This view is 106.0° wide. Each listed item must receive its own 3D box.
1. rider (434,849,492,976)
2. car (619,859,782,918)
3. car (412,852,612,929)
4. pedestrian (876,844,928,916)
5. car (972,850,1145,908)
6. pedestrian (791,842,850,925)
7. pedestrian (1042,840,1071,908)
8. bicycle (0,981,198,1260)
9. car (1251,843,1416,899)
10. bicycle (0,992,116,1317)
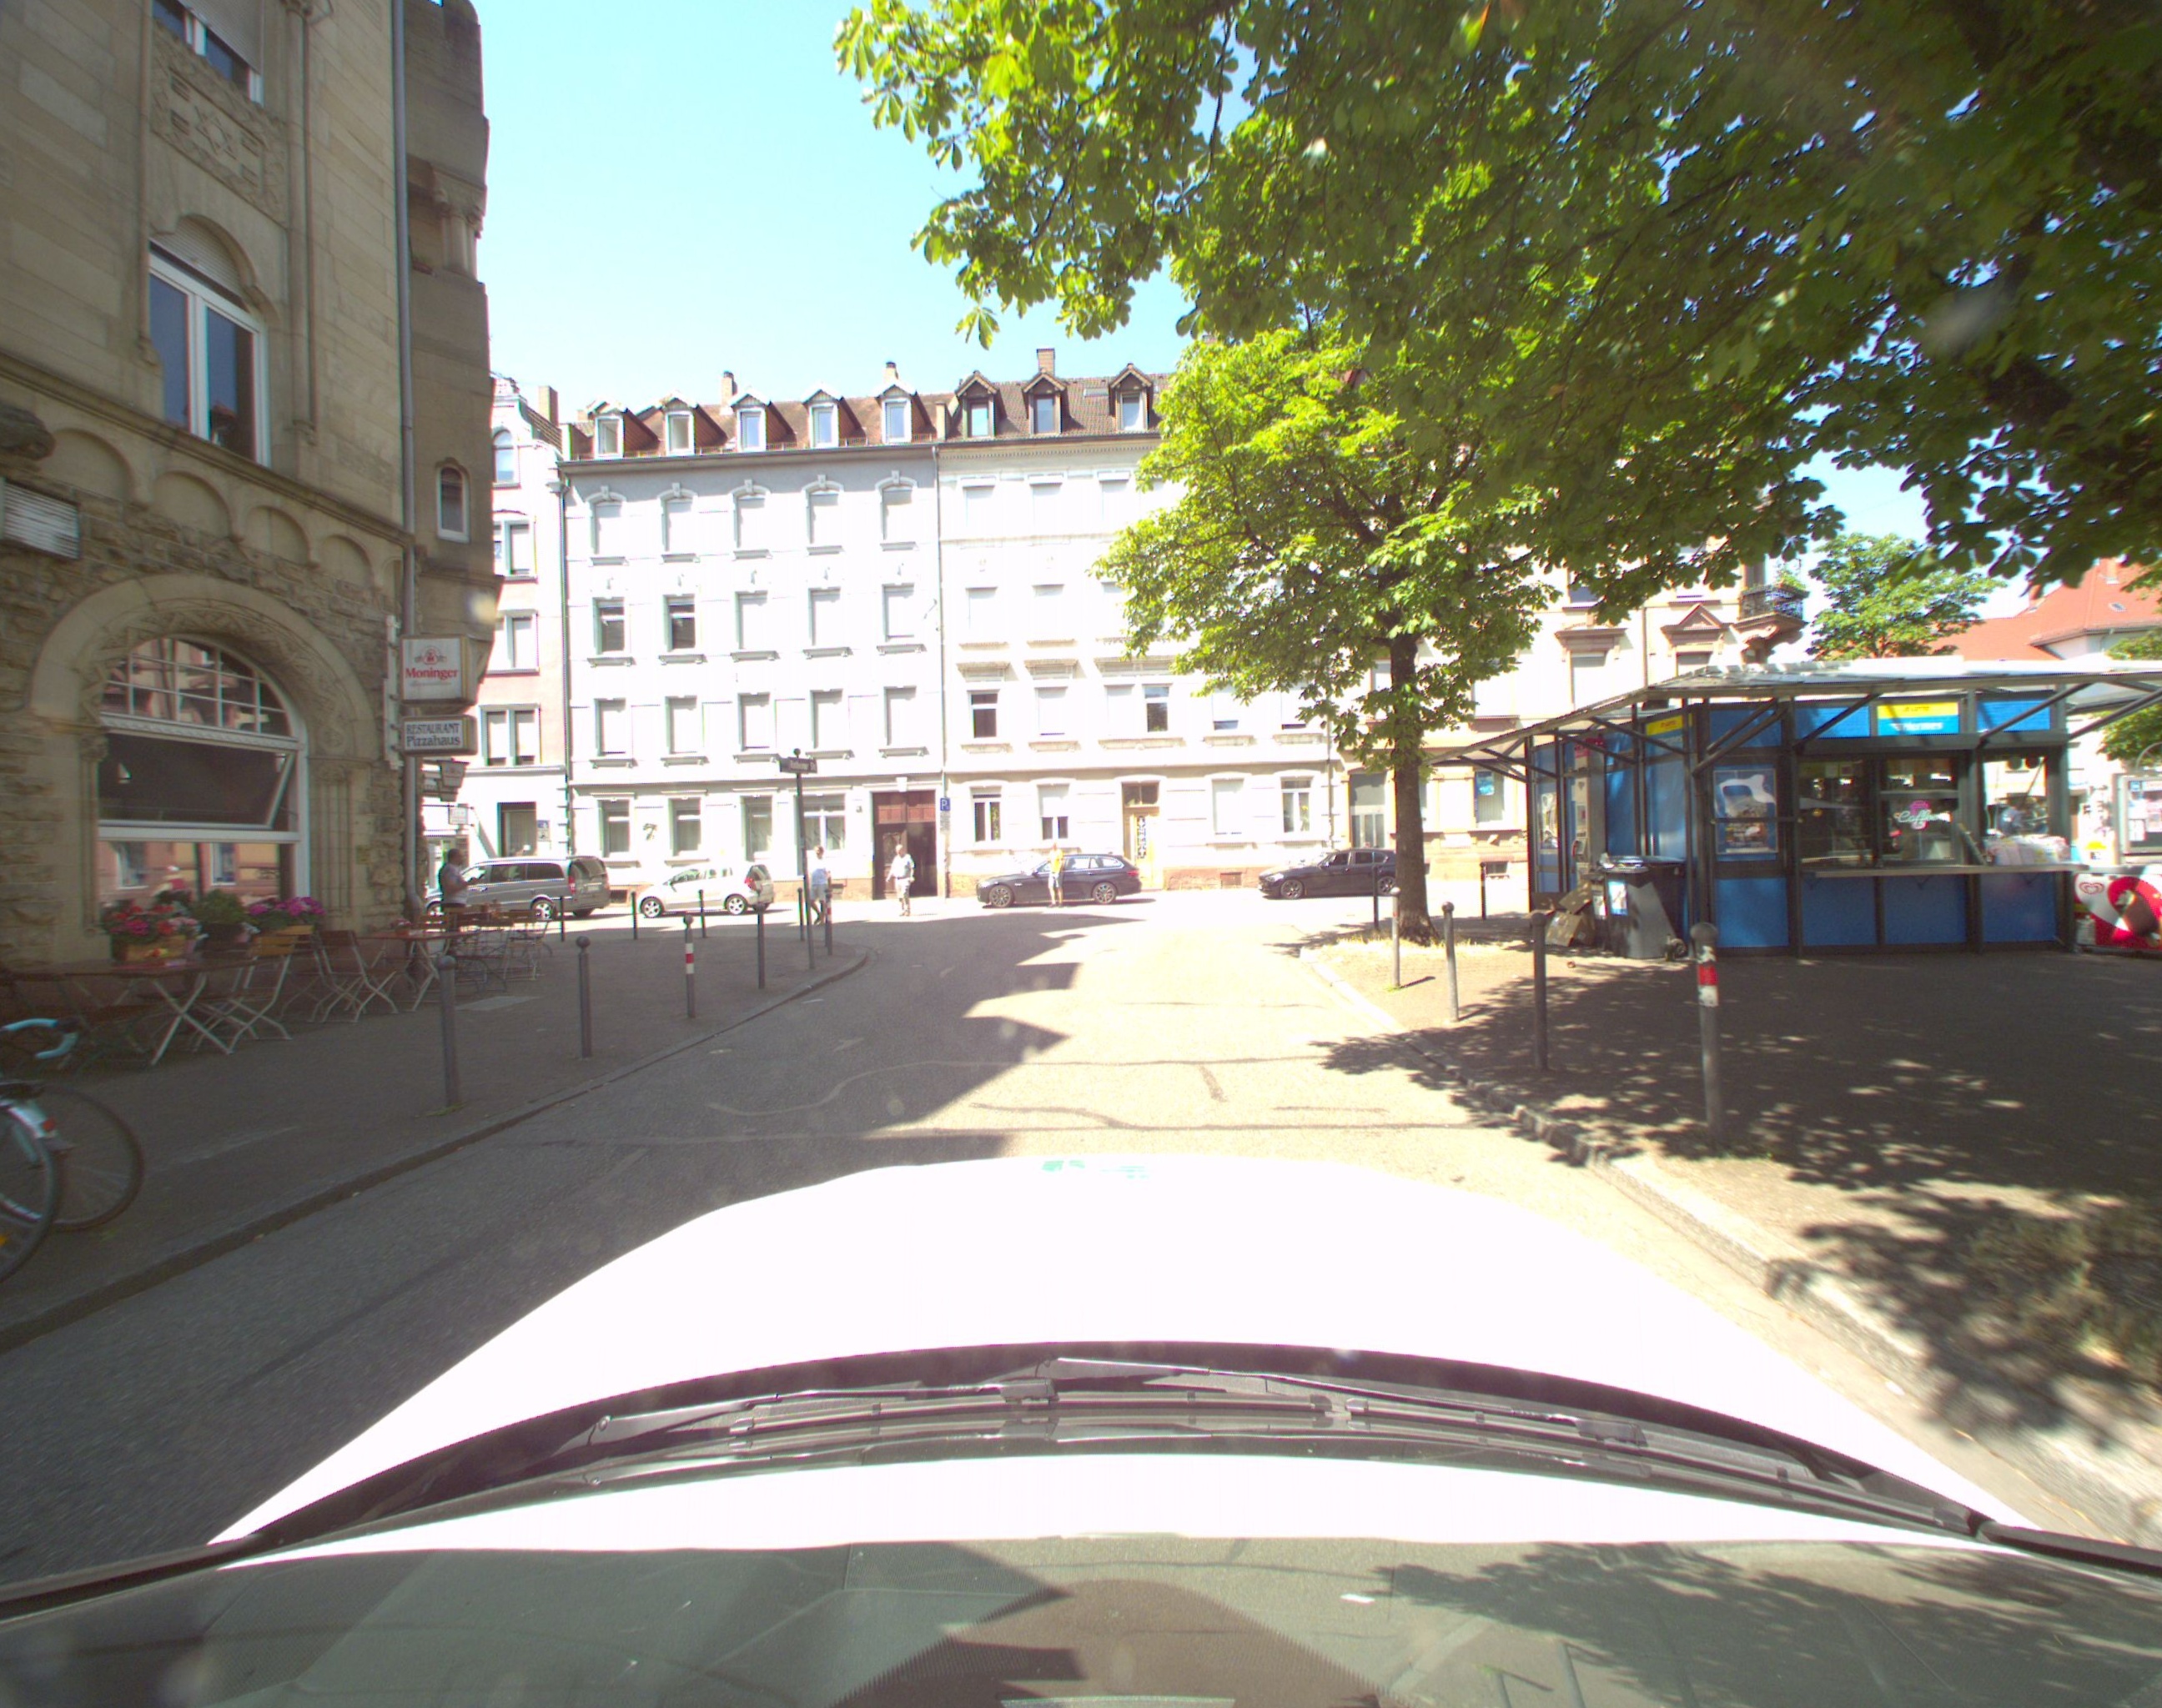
[{"bbox_3d":[-8.635,0.798,11.375,0.544,1.697,0.634,-2,-1,-42],"label":"rider"},{"bbox_3d":[-11.492,1.024,24.778,4.031,1.562,1.808,-2,0,2],"label":"car"},{"bbox_3d":[-17.131,1.070,24.679,4.687,1.997,1.878,-2,1,2],"label":"car"},{"bbox_3d":[-4.641,0.660,21.154,0.894,1.814,0.964,-2,-1,15],"label":"pedestrian"},{"bbox_3d":[-0.595,0.717,23.976,4.839,1.437,2.002,-2,0,3],"label":"car"},{"bbox_3d":[-6.121,0.689,19.148,0.842,1.889,0.940,-3,-1,21],"label":"pedestrian"},{"bbox_3d":[-0.681,0.543,22.841,0.722,1.853,0.685,-2,-1,0],"label":"pedestrian"},{"bbox_3d":[-4.556,1.048,3.295,1.520,1.008,0.367,0,-1,-1],"label":"bicycle"},{"bbox_3d":[7.262,0.469,23.724,4.276,1.370,1.809,-2,2,3],"label":"car"},{"bbox_3d":[-4.507,1.040,2.856,1.699,1.045,0.414,0,-1,-1],"label":"bicycle"}]
